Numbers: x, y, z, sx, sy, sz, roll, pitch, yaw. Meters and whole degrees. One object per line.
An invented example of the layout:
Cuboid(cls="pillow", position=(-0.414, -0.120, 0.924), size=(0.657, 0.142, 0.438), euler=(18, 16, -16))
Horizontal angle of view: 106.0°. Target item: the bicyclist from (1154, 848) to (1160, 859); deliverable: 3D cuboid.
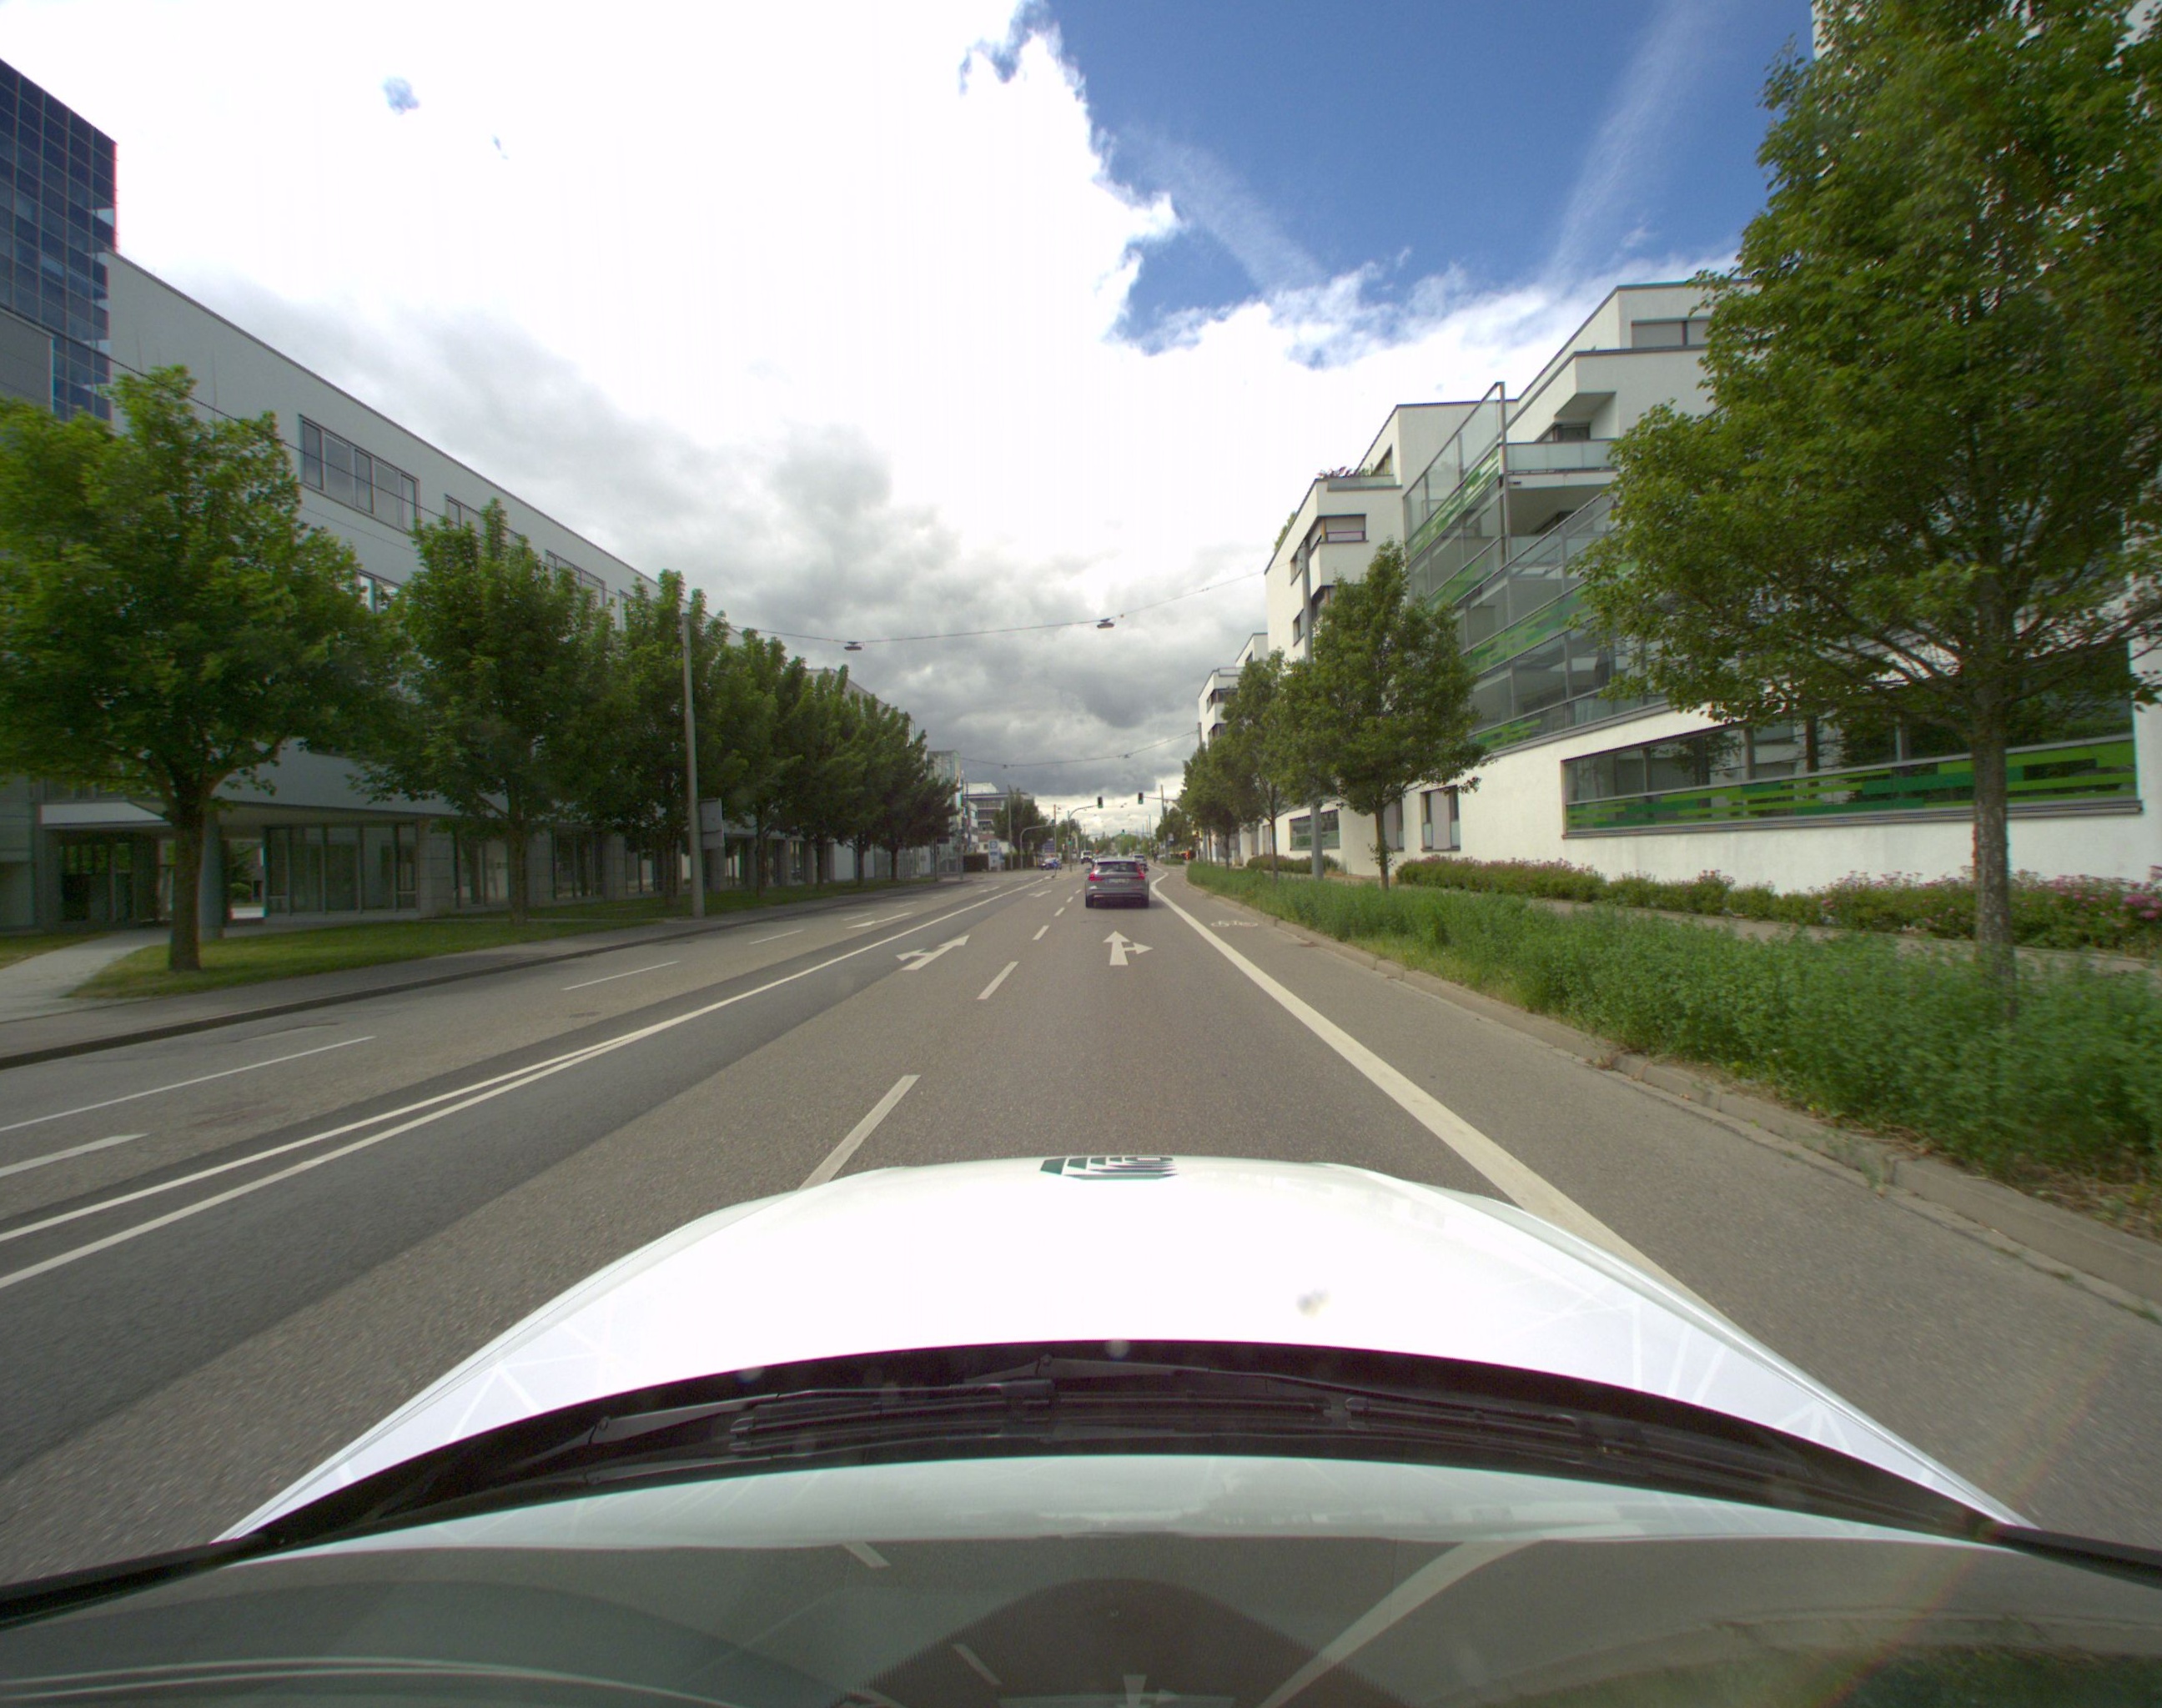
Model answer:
Cuboid(cls="bicyclist", position=(11.318, -0.050, 121.215), size=(0.635, 1.675, 0.891), euler=(-5, 0, 3))

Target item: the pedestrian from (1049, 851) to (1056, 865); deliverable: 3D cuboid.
Cuboid(cls="pedestrian", position=(-4.060, 0.534, 116.328), size=(0.815, 2.014, 0.717), euler=(1, -1, -44))

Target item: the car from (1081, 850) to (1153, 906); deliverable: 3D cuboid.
Cuboid(cls="car", position=(1.178, 0.696, 24.814), size=(1.885, 1.554, 4.008), euler=(0, -1, 7))

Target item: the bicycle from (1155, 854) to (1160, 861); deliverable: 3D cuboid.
Cuboid(cls="bicycle", position=(11.358, 0.518, 121.021), size=(0.635, 1.063, 1.979), euler=(-5, 0, 4))

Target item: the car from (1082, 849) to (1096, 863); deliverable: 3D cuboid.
Cuboid(cls="car", position=(1.552, 0.352, 151.455), size=(2.133, 2.471, 6.080), euler=(-4, 0, 4))

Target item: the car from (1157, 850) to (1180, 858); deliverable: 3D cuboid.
Cuboid(cls="car", position=(17.635, 0.056, 164.335), size=(4.677, 1.493, 2.047), euler=(-1, 0, 2))

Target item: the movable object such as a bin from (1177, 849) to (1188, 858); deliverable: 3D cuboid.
Cuboid(cls="movable object such as a bin", position=(16.812, -0.111, 135.346), size=(1.306, 1.435, 1.259), euler=(-3, -2, 40))

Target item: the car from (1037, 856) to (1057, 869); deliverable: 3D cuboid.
Cuboid(cls="car", position=(-4.036, 0.996, 97.798), size=(2.017, 1.445, 5.051), euler=(-4, -1, 1))

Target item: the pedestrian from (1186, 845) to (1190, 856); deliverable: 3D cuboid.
Cuboid(cls="pedestrian", position=(17.562, -0.538, 133.577), size=(0.503, 1.765, 0.503), euler=(0, -1, 20))

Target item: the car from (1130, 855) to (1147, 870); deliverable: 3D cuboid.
Cuboid(cls="car", position=(6.716, 1.039, 95.499), size=(1.985, 1.695, 4.003), euler=(0, -1, 3))

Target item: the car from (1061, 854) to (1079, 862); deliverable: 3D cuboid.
Cuboid(cls="car", position=(-2.565, 0.990, 196.558), size=(4.086, 1.397, 1.905), euler=(-8, 1, -4))

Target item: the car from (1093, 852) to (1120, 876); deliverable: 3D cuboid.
Cuboid(cls="car", position=(1.904, 0.770, 61.269), size=(1.986, 1.717, 4.001), euler=(0, -1, 1))
